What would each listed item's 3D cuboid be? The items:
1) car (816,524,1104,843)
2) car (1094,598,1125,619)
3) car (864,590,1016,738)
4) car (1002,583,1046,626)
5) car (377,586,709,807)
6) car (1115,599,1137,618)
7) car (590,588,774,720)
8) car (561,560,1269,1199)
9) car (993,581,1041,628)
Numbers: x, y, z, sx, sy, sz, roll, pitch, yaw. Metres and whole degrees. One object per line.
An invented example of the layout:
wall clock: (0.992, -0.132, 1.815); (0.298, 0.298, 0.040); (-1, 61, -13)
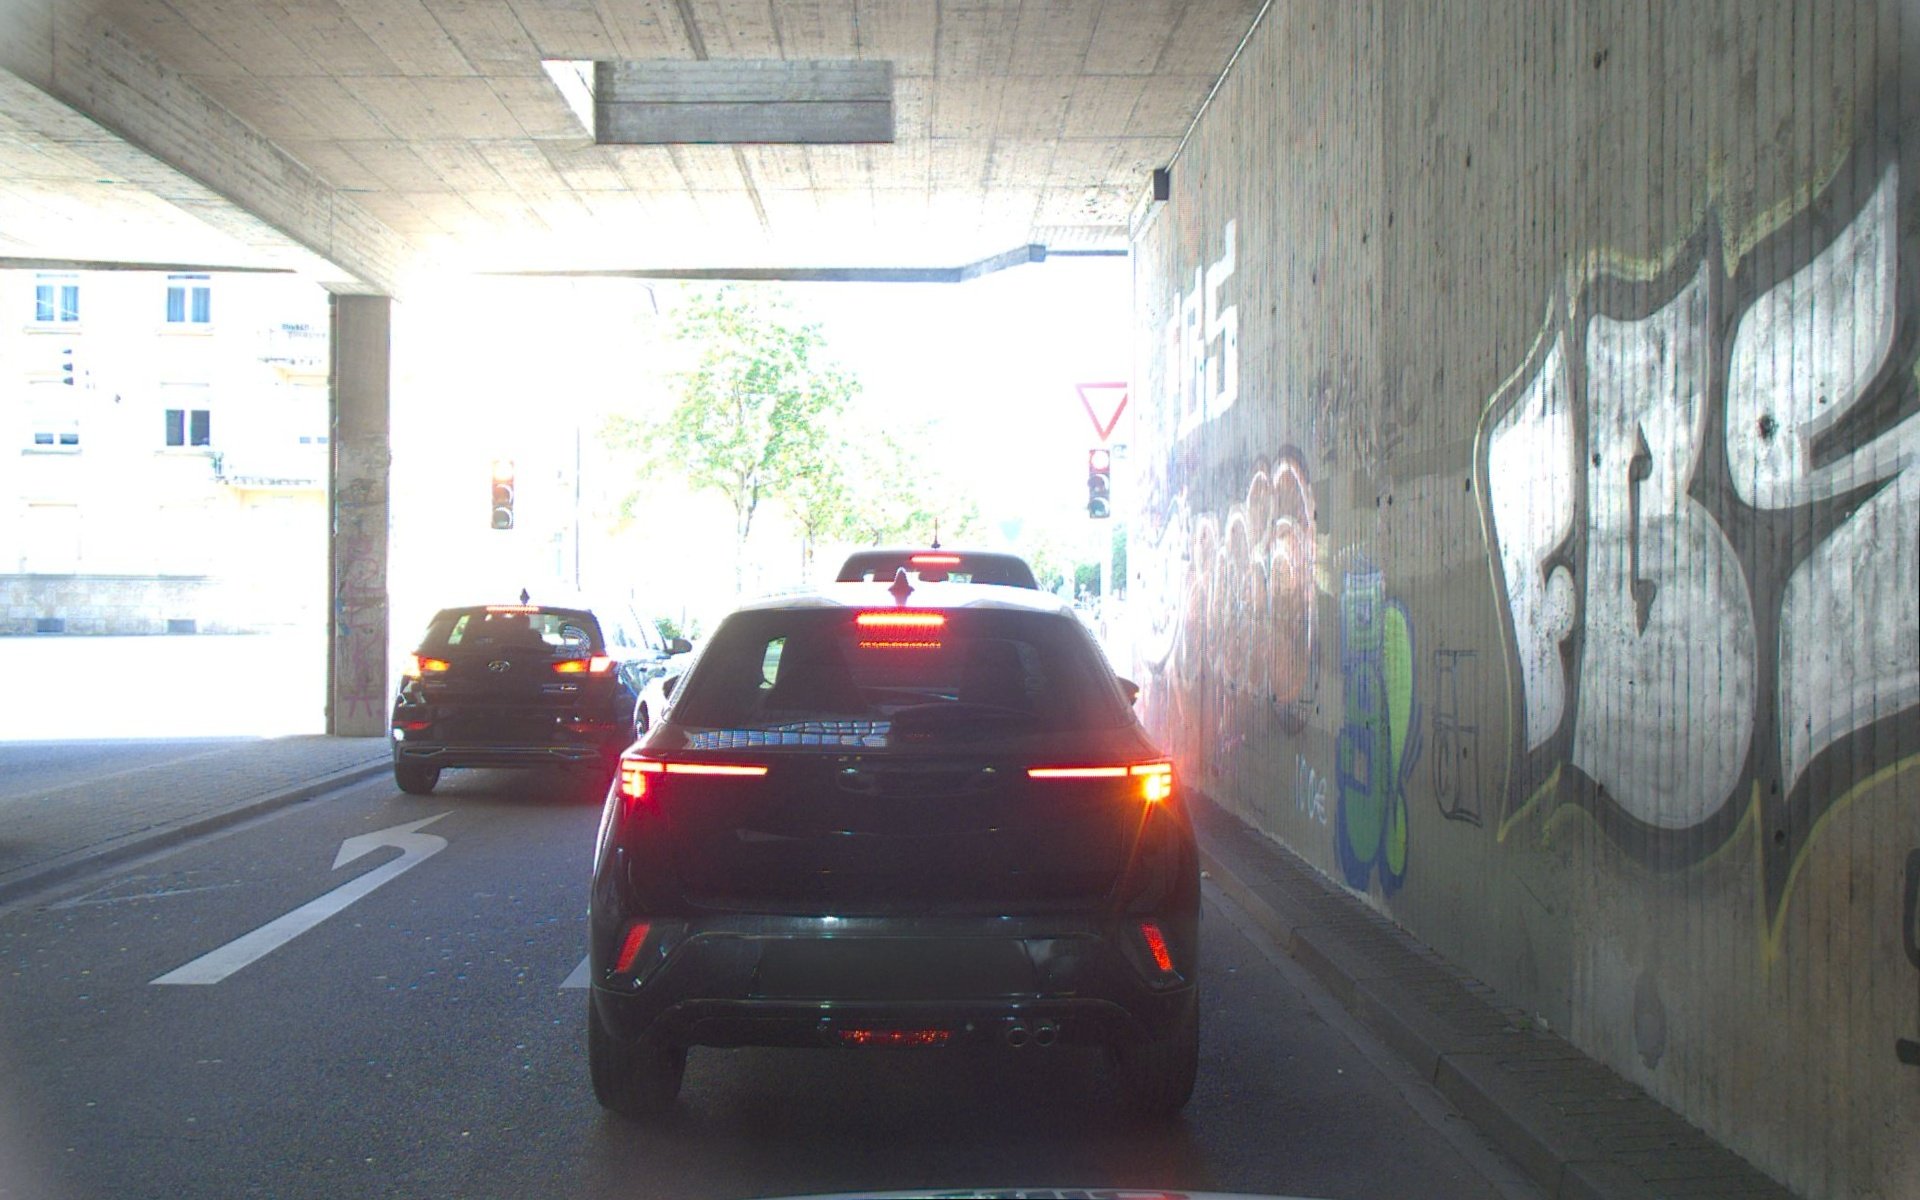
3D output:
car: (-0.028, 0.499, 12.043); (1.726, 1.915, 4.145); (0, 0, -1)
car: (12.847, 0.744, 141.955); (1.779, 1.696, 4.819); (1, 0, 16)
car: (-0.234, 0.665, 19.257); (1.576, 1.539, 4.053); (0, 0, -1)
car: (2.671, 0.208, 68.363); (1.717, 1.696, 3.946); (1, 0, 3)
car: (-3.145, 0.656, 13.240); (1.726, 1.506, 3.843); (0, 0, -1)
car: (15.486, 0.783, 154.377); (1.716, 1.696, 3.948); (1, 0, 10)
car: (-3.416, 0.616, 20.961); (1.726, 1.506, 3.843); (0, 0, -1)
car: (-0.134, 0.681, 6.098); (1.726, 1.558, 4.088); (0, 0, -1)
car: (2.182, 0.175, 62.237); (1.717, 1.696, 3.946); (1, 0, 3)
